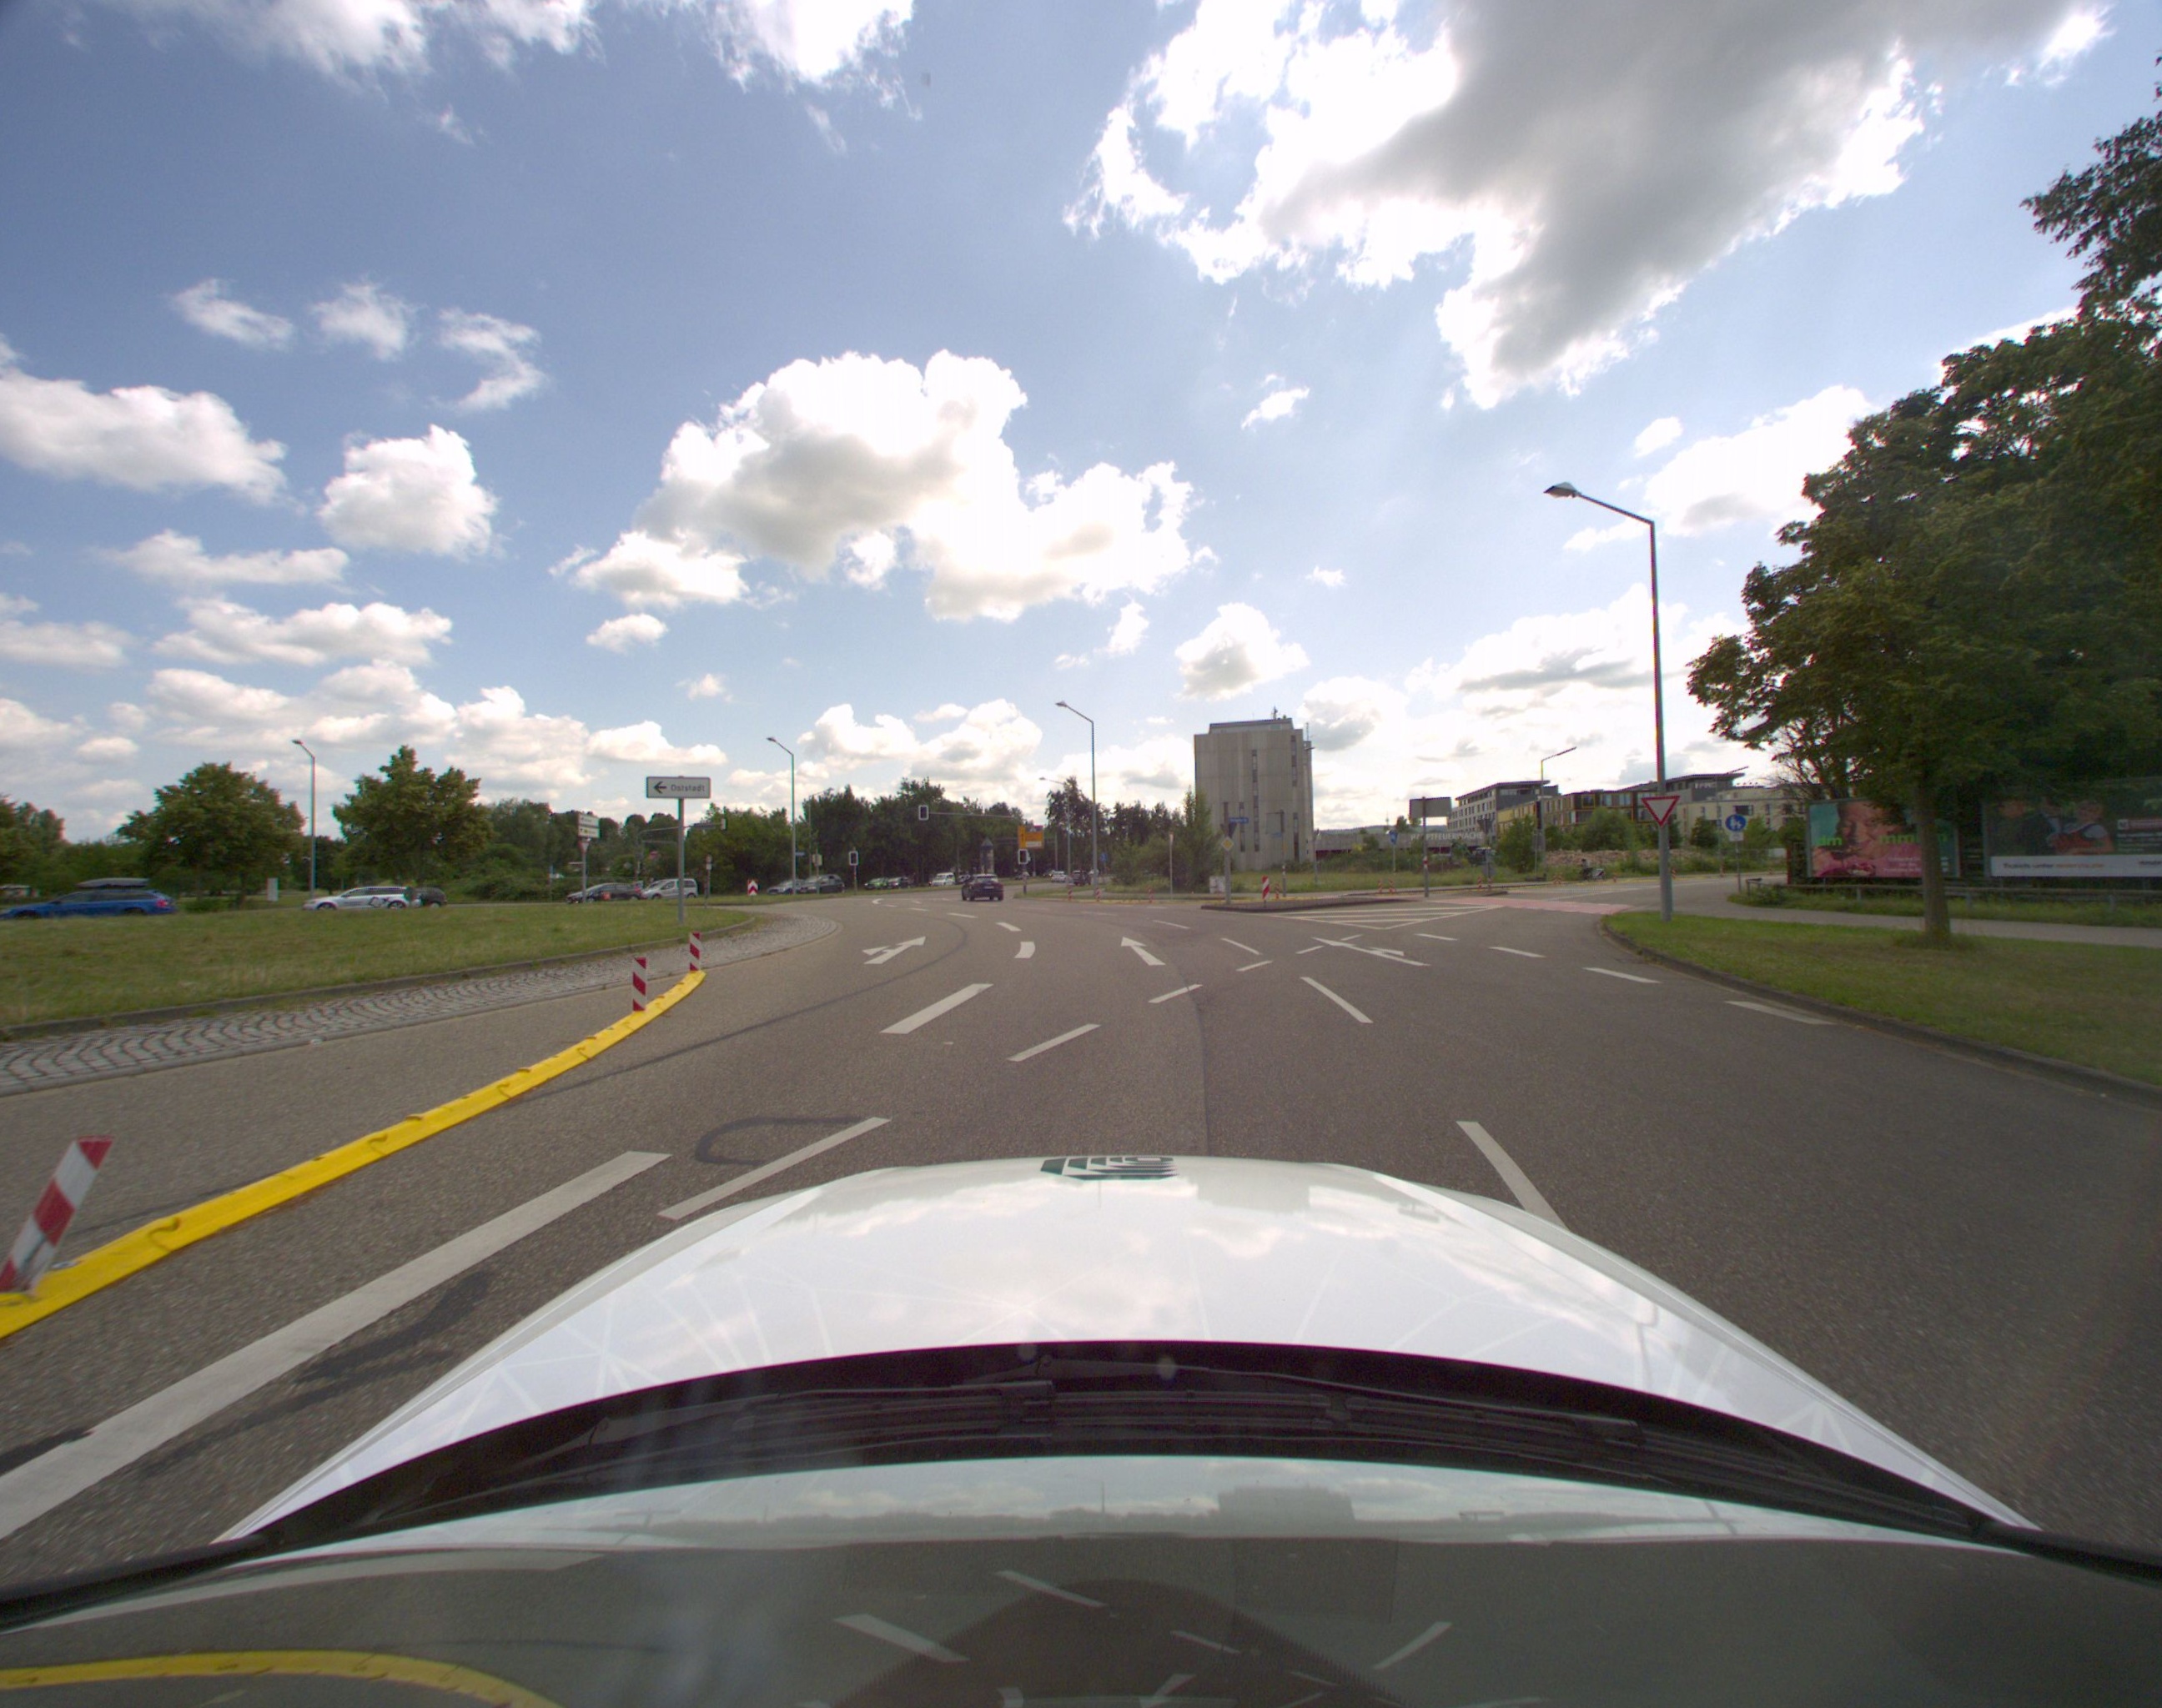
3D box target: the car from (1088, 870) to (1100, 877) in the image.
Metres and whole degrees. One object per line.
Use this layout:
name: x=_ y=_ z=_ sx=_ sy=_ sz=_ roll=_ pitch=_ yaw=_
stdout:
car: x=2.824 y=4.275 z=178.098 sx=1.751 sy=1.440 sz=4.323 roll=-2 pitch=-1 yaw=12

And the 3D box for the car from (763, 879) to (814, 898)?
car: x=-23.519 y=2.745 z=65.674 sx=1.892 sy=1.423 sz=4.206 roll=-1 pitch=-1 yaw=13

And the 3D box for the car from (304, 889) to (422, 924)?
car: x=-37.555 y=2.708 z=42.664 sx=4.533 sy=1.522 sz=2.098 roll=0 pitch=-1 yaw=-44

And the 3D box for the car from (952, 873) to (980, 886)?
car: x=-14.517 y=3.242 z=102.752 sx=1.825 sy=1.480 sz=4.769 roll=-3 pitch=-2 yaw=12

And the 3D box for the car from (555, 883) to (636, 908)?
car: x=-30.605 y=2.596 z=51.426 sx=1.780 sy=1.340 sz=4.004 roll=-4 pitch=-2 yaw=42

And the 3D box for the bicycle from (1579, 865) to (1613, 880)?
bicycle: x=35.422 y=1.287 z=56.033 sx=2.551 sy=1.018 sz=0.867 roll=2 pitch=-3 yaw=-30

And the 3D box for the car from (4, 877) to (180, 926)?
car: x=-40.759 y=1.911 z=33.750 sx=4.433 sy=1.798 sz=1.734 roll=0 pitch=-1 yaw=-44

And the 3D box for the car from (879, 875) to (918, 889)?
car: x=-18.840 y=2.882 z=84.415 sx=1.824 sy=1.310 sz=4.806 roll=-3 pitch=-2 yaw=15

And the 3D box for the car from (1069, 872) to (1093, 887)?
car: x=0.037 y=2.894 z=93.873 sx=1.981 sy=1.626 sz=4.321 roll=-1 pitch=-1 yaw=10

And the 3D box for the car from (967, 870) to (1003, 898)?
car: x=-5.252 y=1.616 z=44.272 sx=1.684 sy=1.464 sz=3.985 roll=0 pitch=-1 yaw=-11

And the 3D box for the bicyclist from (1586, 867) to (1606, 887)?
bicyclist: x=35.366 y=1.595 z=55.959 sx=0.814 sy=1.325 sz=0.868 roll=2 pitch=-3 yaw=-27

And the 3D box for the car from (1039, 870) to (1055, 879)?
car: x=-6.481 y=3.956 z=156.850 sx=1.751 sy=1.577 sz=5.047 roll=-2 pitch=-1 yaw=12

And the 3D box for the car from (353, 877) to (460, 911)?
car: x=-39.248 y=2.282 z=47.454 sx=4.689 sy=1.821 sz=2.099 roll=0 pitch=-1 yaw=-44

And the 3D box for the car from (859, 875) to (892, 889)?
car: x=-21.755 y=2.988 z=86.394 sx=1.604 sy=1.348 sz=4.185 roll=-3 pitch=-2 yaw=13

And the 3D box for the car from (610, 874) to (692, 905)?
car: x=-30.474 y=2.505 z=57.837 sx=1.974 sy=2.014 sz=4.817 roll=-2 pitch=-1 yaw=30

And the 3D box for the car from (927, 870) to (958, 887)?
car: x=-16.412 y=2.870 z=96.584 sx=1.825 sy=1.799 sz=4.804 roll=-3 pitch=-2 yaw=13

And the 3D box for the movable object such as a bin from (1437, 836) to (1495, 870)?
movable object such as a bin: x=47.349 y=-0.103 z=100.116 sx=7.647 sy=3.853 sz=3.016 roll=2 pitch=-3 yaw=-35

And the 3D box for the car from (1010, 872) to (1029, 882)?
car: x=-10.407 y=3.938 z=138.293 sx=1.711 sy=1.591 sz=5.029 roll=-2 pitch=-2 yaw=12

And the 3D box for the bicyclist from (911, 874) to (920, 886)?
bicyclist: x=-22.704 y=3.525 z=111.551 sx=0.824 sy=1.565 sz=0.886 roll=1 pitch=-1 yaw=12

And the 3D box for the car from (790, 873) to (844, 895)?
car: x=-20.677 y=2.330 z=63.933 sx=1.894 sy=1.592 sz=4.608 roll=-2 pitch=-2 yaw=13

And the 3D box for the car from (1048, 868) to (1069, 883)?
car: x=-2.909 y=2.813 z=107.627 sx=1.981 sy=2.014 sz=4.010 roll=0 pitch=-1 yaw=10

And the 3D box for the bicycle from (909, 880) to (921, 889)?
bicycle: x=-22.720 y=4.184 z=111.562 sx=0.756 sy=1.219 sz=2.023 roll=1 pitch=-1 yaw=12
